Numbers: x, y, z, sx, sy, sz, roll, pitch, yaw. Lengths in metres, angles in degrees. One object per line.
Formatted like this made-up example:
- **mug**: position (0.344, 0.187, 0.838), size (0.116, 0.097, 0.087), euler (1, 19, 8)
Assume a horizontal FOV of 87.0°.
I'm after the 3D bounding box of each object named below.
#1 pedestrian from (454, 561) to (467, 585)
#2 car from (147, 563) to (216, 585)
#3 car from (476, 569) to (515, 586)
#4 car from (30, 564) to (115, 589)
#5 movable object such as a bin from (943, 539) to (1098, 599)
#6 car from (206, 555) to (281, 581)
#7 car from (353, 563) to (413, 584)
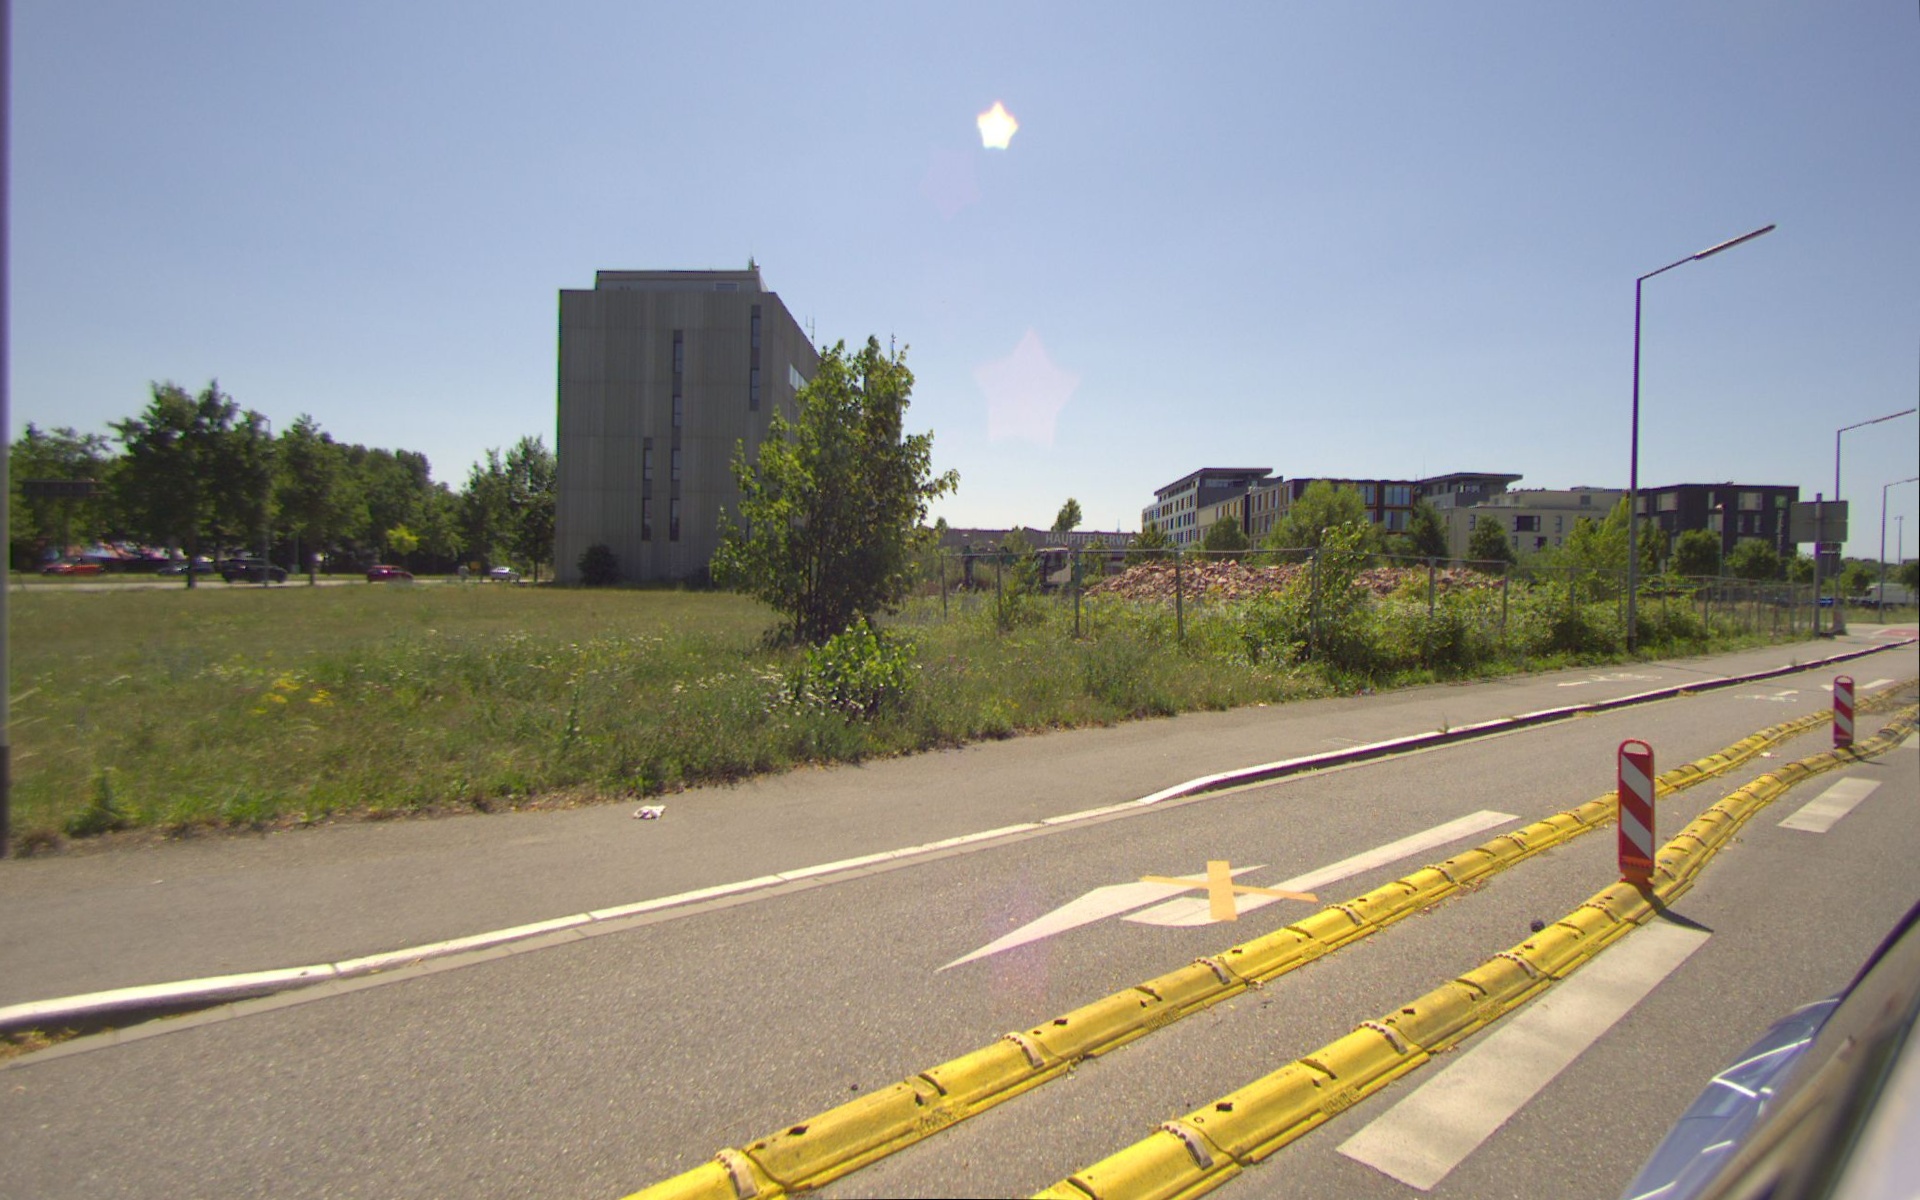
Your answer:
- **pedestrian**: position (-33.948, -1.833, 68.760), size (0.652, 1.611, 0.557), euler (0, 0, -15)
- **car**: position (-58.966, -1.953, 76.771), size (1.814, 1.612, 4.443), euler (0, 0, 1)
- **car**: position (-45.885, -2.242, 100.122), size (1.961, 1.546, 4.423), euler (1, 1, -3)
- **car**: position (-59.284, -1.531, 67.728), size (1.814, 1.612, 4.415), euler (0, 0, 1)
- **movable object such as a bin**: position (3.209, -1.591, 53.351), size (7.537, 2.952, 3.242), euler (-1, 0, -26)
- **car**: position (-48.226, -2.136, 68.235), size (1.962, 1.615, 4.421), euler (2, 1, -1)
- **car**: position (-44.381, -2.036, 77.951), size (1.963, 1.546, 4.417), euler (0, 0, 2)
